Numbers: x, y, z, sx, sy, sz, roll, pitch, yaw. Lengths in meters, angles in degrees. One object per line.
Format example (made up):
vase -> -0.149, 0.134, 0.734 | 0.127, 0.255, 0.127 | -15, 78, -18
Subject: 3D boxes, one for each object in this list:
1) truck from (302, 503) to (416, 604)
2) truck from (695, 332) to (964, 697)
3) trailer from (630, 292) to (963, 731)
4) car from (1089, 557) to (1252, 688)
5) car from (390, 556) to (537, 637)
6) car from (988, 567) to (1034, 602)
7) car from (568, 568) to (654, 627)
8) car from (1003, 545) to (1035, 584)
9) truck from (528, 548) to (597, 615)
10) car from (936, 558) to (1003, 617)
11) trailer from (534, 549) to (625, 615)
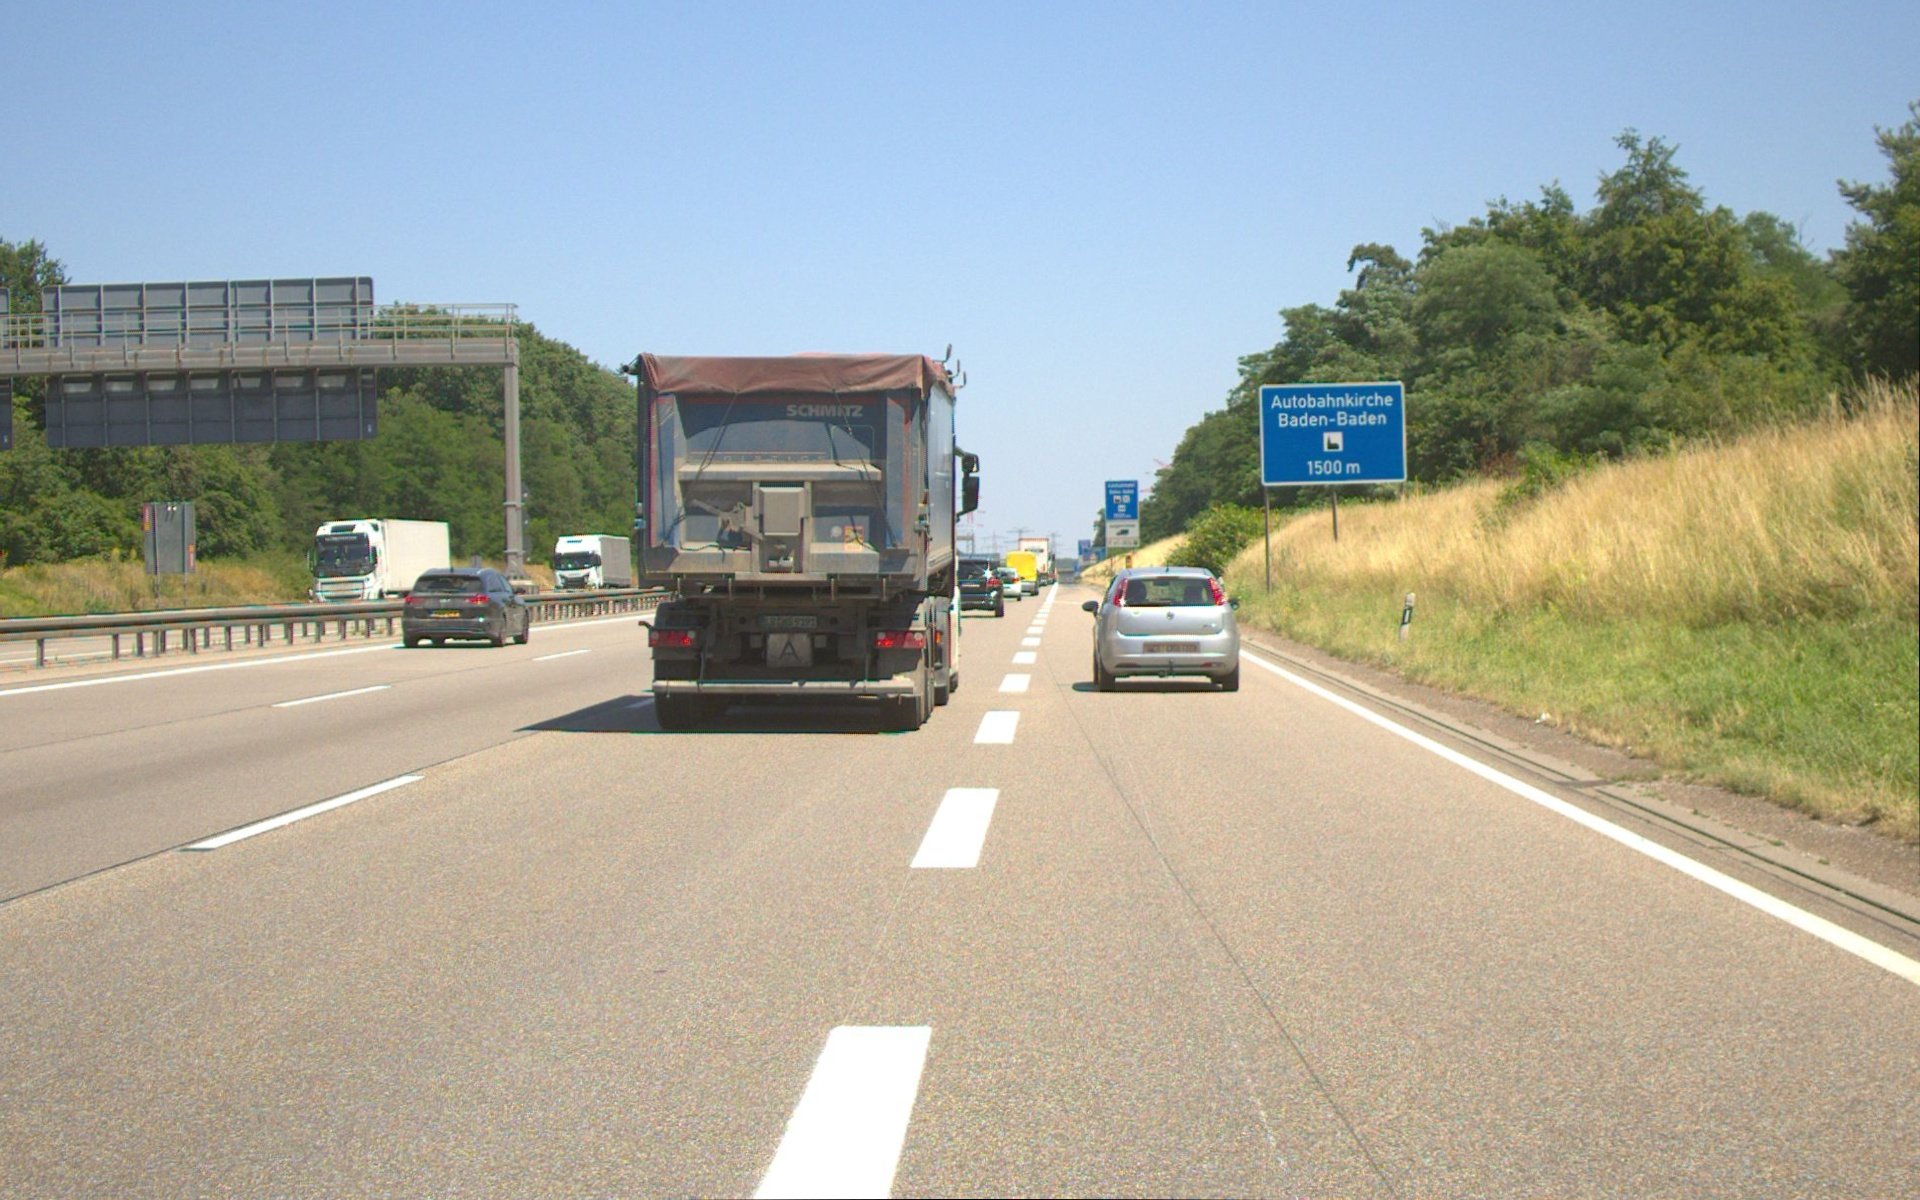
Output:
truck -> -24.254, -1.861, 139.057 | 3.214, 4.004, 6.215 | 0, 0, 3
truck -> -1.344, -0.928, 38.401 | 2.684, 3.746, 5.944 | 0, 1, 1
trailer -> -1.399, -0.821, 33.993 | 2.737, 3.746, 9.109 | 0, 1, 1
car -> 2.509, 0.237, 41.736 | 1.719, 1.486, 3.737 | 0, 1, 0
car -> -9.045, -0.088, 62.986 | 1.832, 1.427, 4.999 | 0, 1, 2
car -> 2.236, -0.658, 149.400 | 1.821, 1.486, 3.736 | 0, 0, 3
car -> -9.281, -0.087, 91.784 | 1.703, 1.469, 4.597 | 0, 1, 1
car -> 3.047, -1.858, 179.112 | 1.611, 2.007, 4.000 | 1, 1, 1
truck -> -23.542, -1.114, 203.873 | 3.168, 3.917, 5.399 | 0, 0, 4
car -> 0.291, -0.365, 100.379 | 1.832, 1.666, 4.000 | 1, 0, 1
trailer -> -23.165, -1.105, 210.211 | 3.168, 3.917, 13.962 | 0, 0, 4
